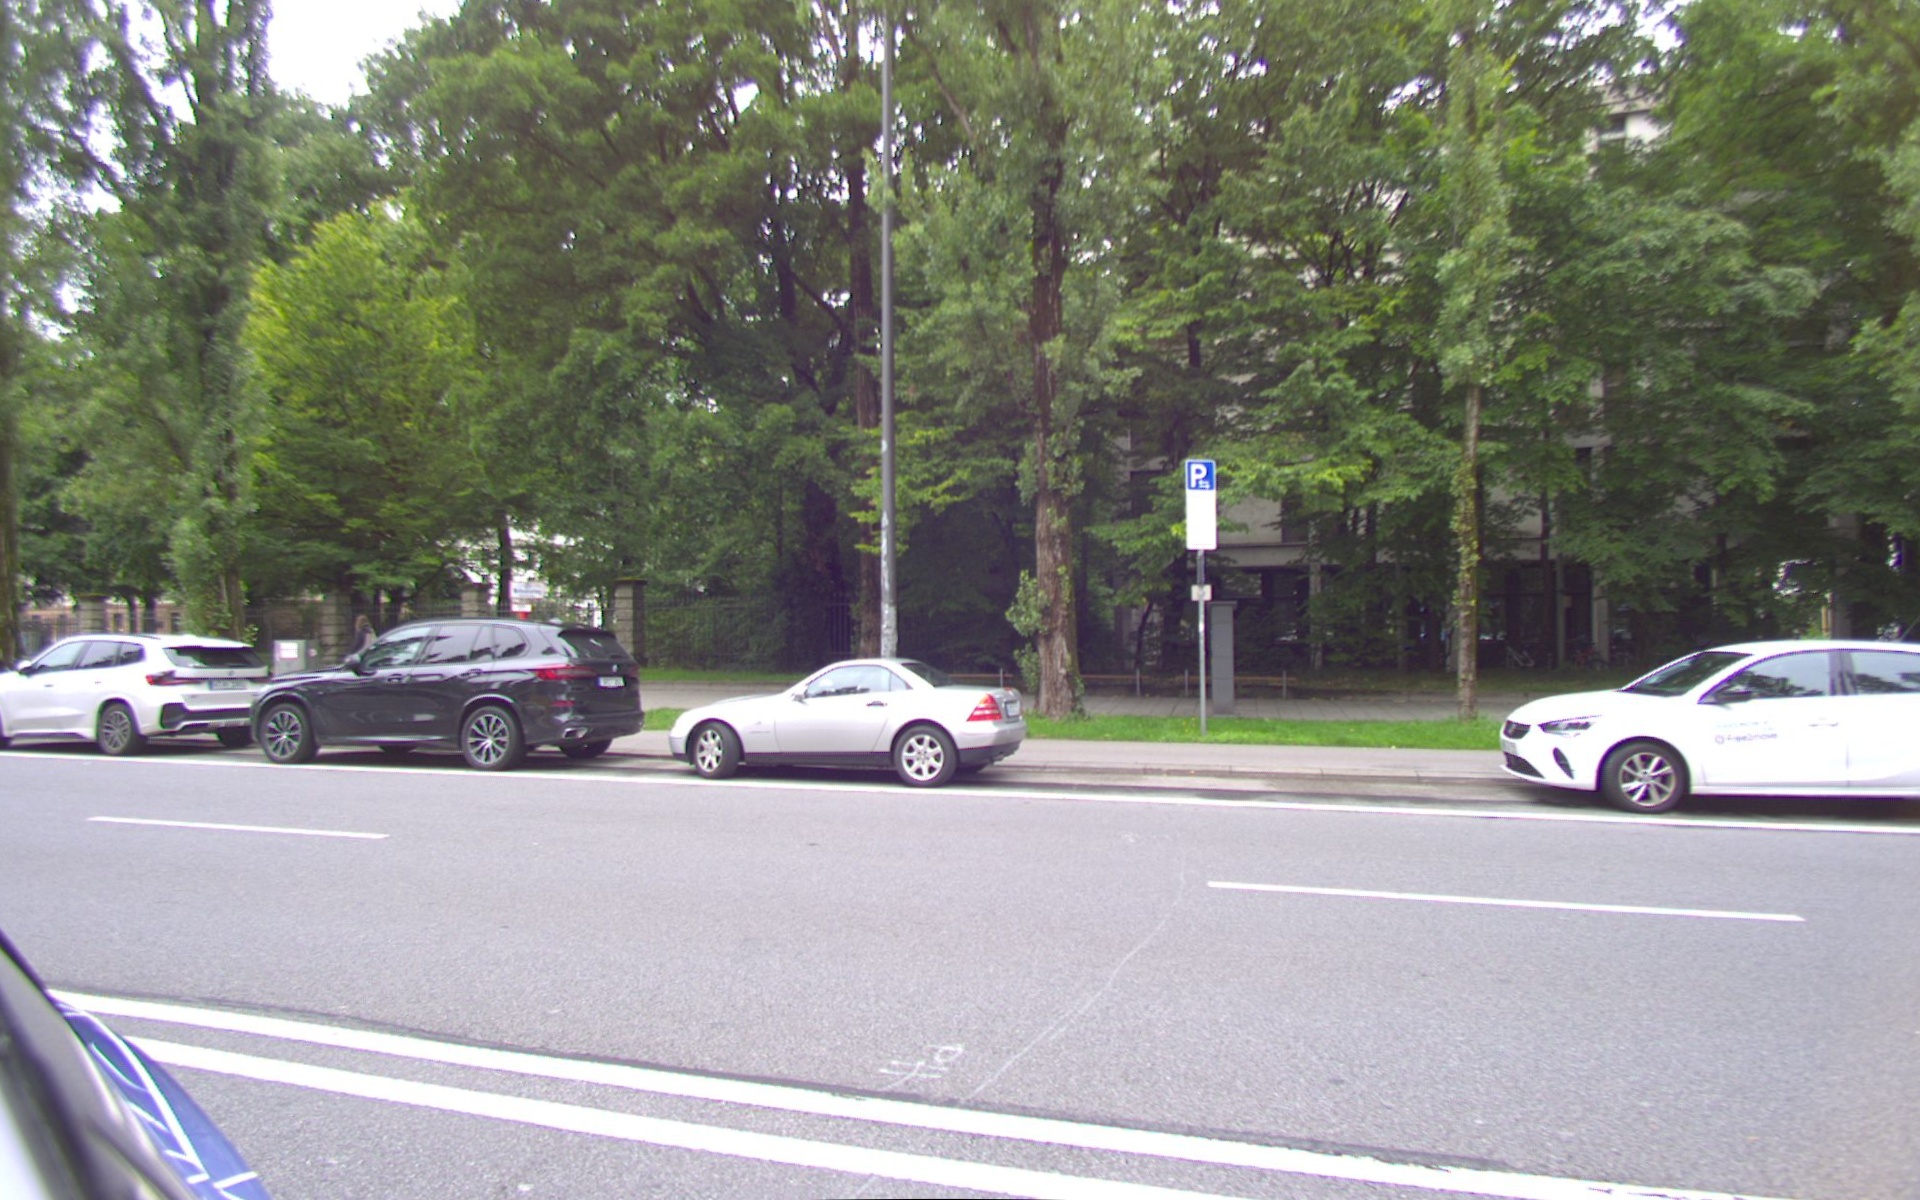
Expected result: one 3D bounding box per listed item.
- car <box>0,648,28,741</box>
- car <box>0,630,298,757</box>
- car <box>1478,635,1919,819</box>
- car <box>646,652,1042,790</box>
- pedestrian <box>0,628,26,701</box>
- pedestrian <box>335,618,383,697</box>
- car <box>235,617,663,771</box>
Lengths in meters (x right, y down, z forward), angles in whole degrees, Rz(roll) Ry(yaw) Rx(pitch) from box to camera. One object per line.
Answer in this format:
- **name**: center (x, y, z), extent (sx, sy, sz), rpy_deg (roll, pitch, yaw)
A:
- **car**: center (-16.947, 1.469, 15.727), extent (4.199, 1.433, 1.673), rpy_deg (-1, -3, 16)
- **car**: center (-11.872, 1.292, 14.317), extent (4.423, 1.601, 1.781), rpy_deg (-2, -4, 17)
- **car**: center (6.942, 1.036, 8.843), extent (3.967, 1.424, 1.682), rpy_deg (-1, -3, 16)
- **car**: center (-1.231, 1.237, 11.013), extent (3.994, 1.315, 1.576), rpy_deg (-1, -3, 17)
- **pedestrian**: center (-23.285, 1.553, 24.553), extent (0.779, 1.733, 0.581), rpy_deg (-1, -1, 15)
- **pedestrian**: center (-14.128, 1.336, 23.799), extent (0.768, 1.829, 0.638), rpy_deg (-1, -2, 16)
- **car**: center (-6.261, 1.134, 12.554), extent (4.674, 1.671, 1.877), rpy_deg (-1, -4, 15)
